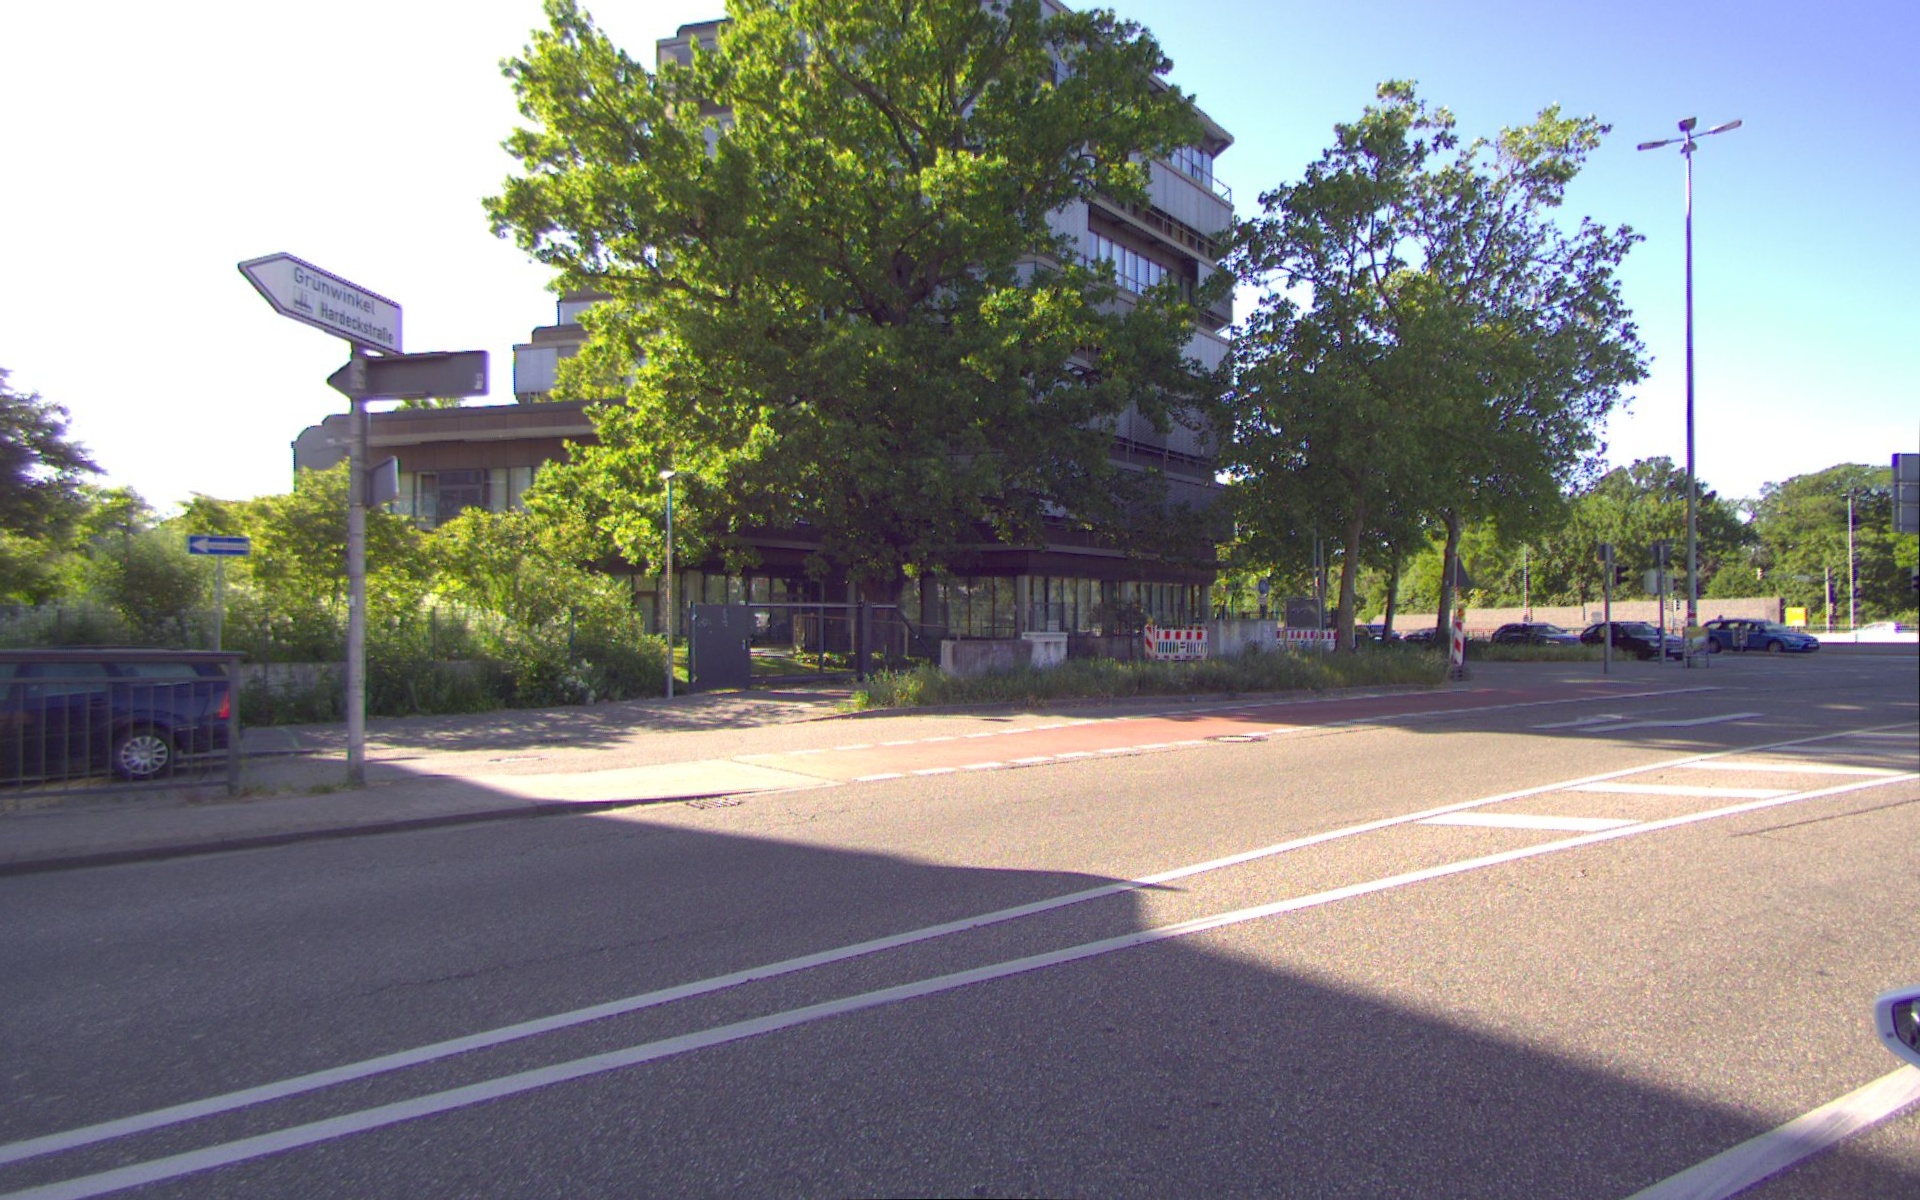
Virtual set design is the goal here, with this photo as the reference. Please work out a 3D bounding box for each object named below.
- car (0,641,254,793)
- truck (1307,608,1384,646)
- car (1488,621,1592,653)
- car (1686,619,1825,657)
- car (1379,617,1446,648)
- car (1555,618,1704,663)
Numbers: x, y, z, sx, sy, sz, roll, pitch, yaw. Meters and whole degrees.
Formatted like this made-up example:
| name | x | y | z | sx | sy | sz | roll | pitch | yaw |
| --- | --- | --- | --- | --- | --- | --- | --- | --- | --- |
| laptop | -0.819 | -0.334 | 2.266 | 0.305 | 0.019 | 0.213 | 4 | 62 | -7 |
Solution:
| name | x | y | z | sx | sy | sz | roll | pitch | yaw |
| --- | --- | --- | --- | --- | --- | --- | --- | --- | --- |
| car | -10.667 | 1.329 | 11.343 | 4.339 | 1.528 | 1.642 | -1 | -3 | -38 |
| truck | 25.430 | 1.761 | 66.695 | 2.121 | 2.391 | 7.515 | 0 | -1 | -1 |
| car | 26.113 | 1.627 | 45.398 | 1.844 | 1.376 | 4.507 | 0 | -1 | -4 |
| car | 34.351 | 1.606 | 43.512 | 1.919 | 1.561 | 4.443 | 0 | -1 | -16 |
| car | 26.091 | 1.849 | 58.086 | 1.843 | 1.666 | 4.509 | 0 | -1 | -1 |
| car | 25.830 | 1.526 | 38.991 | 1.918 | 1.643 | 4.773 | 0 | -1 | -13 |
